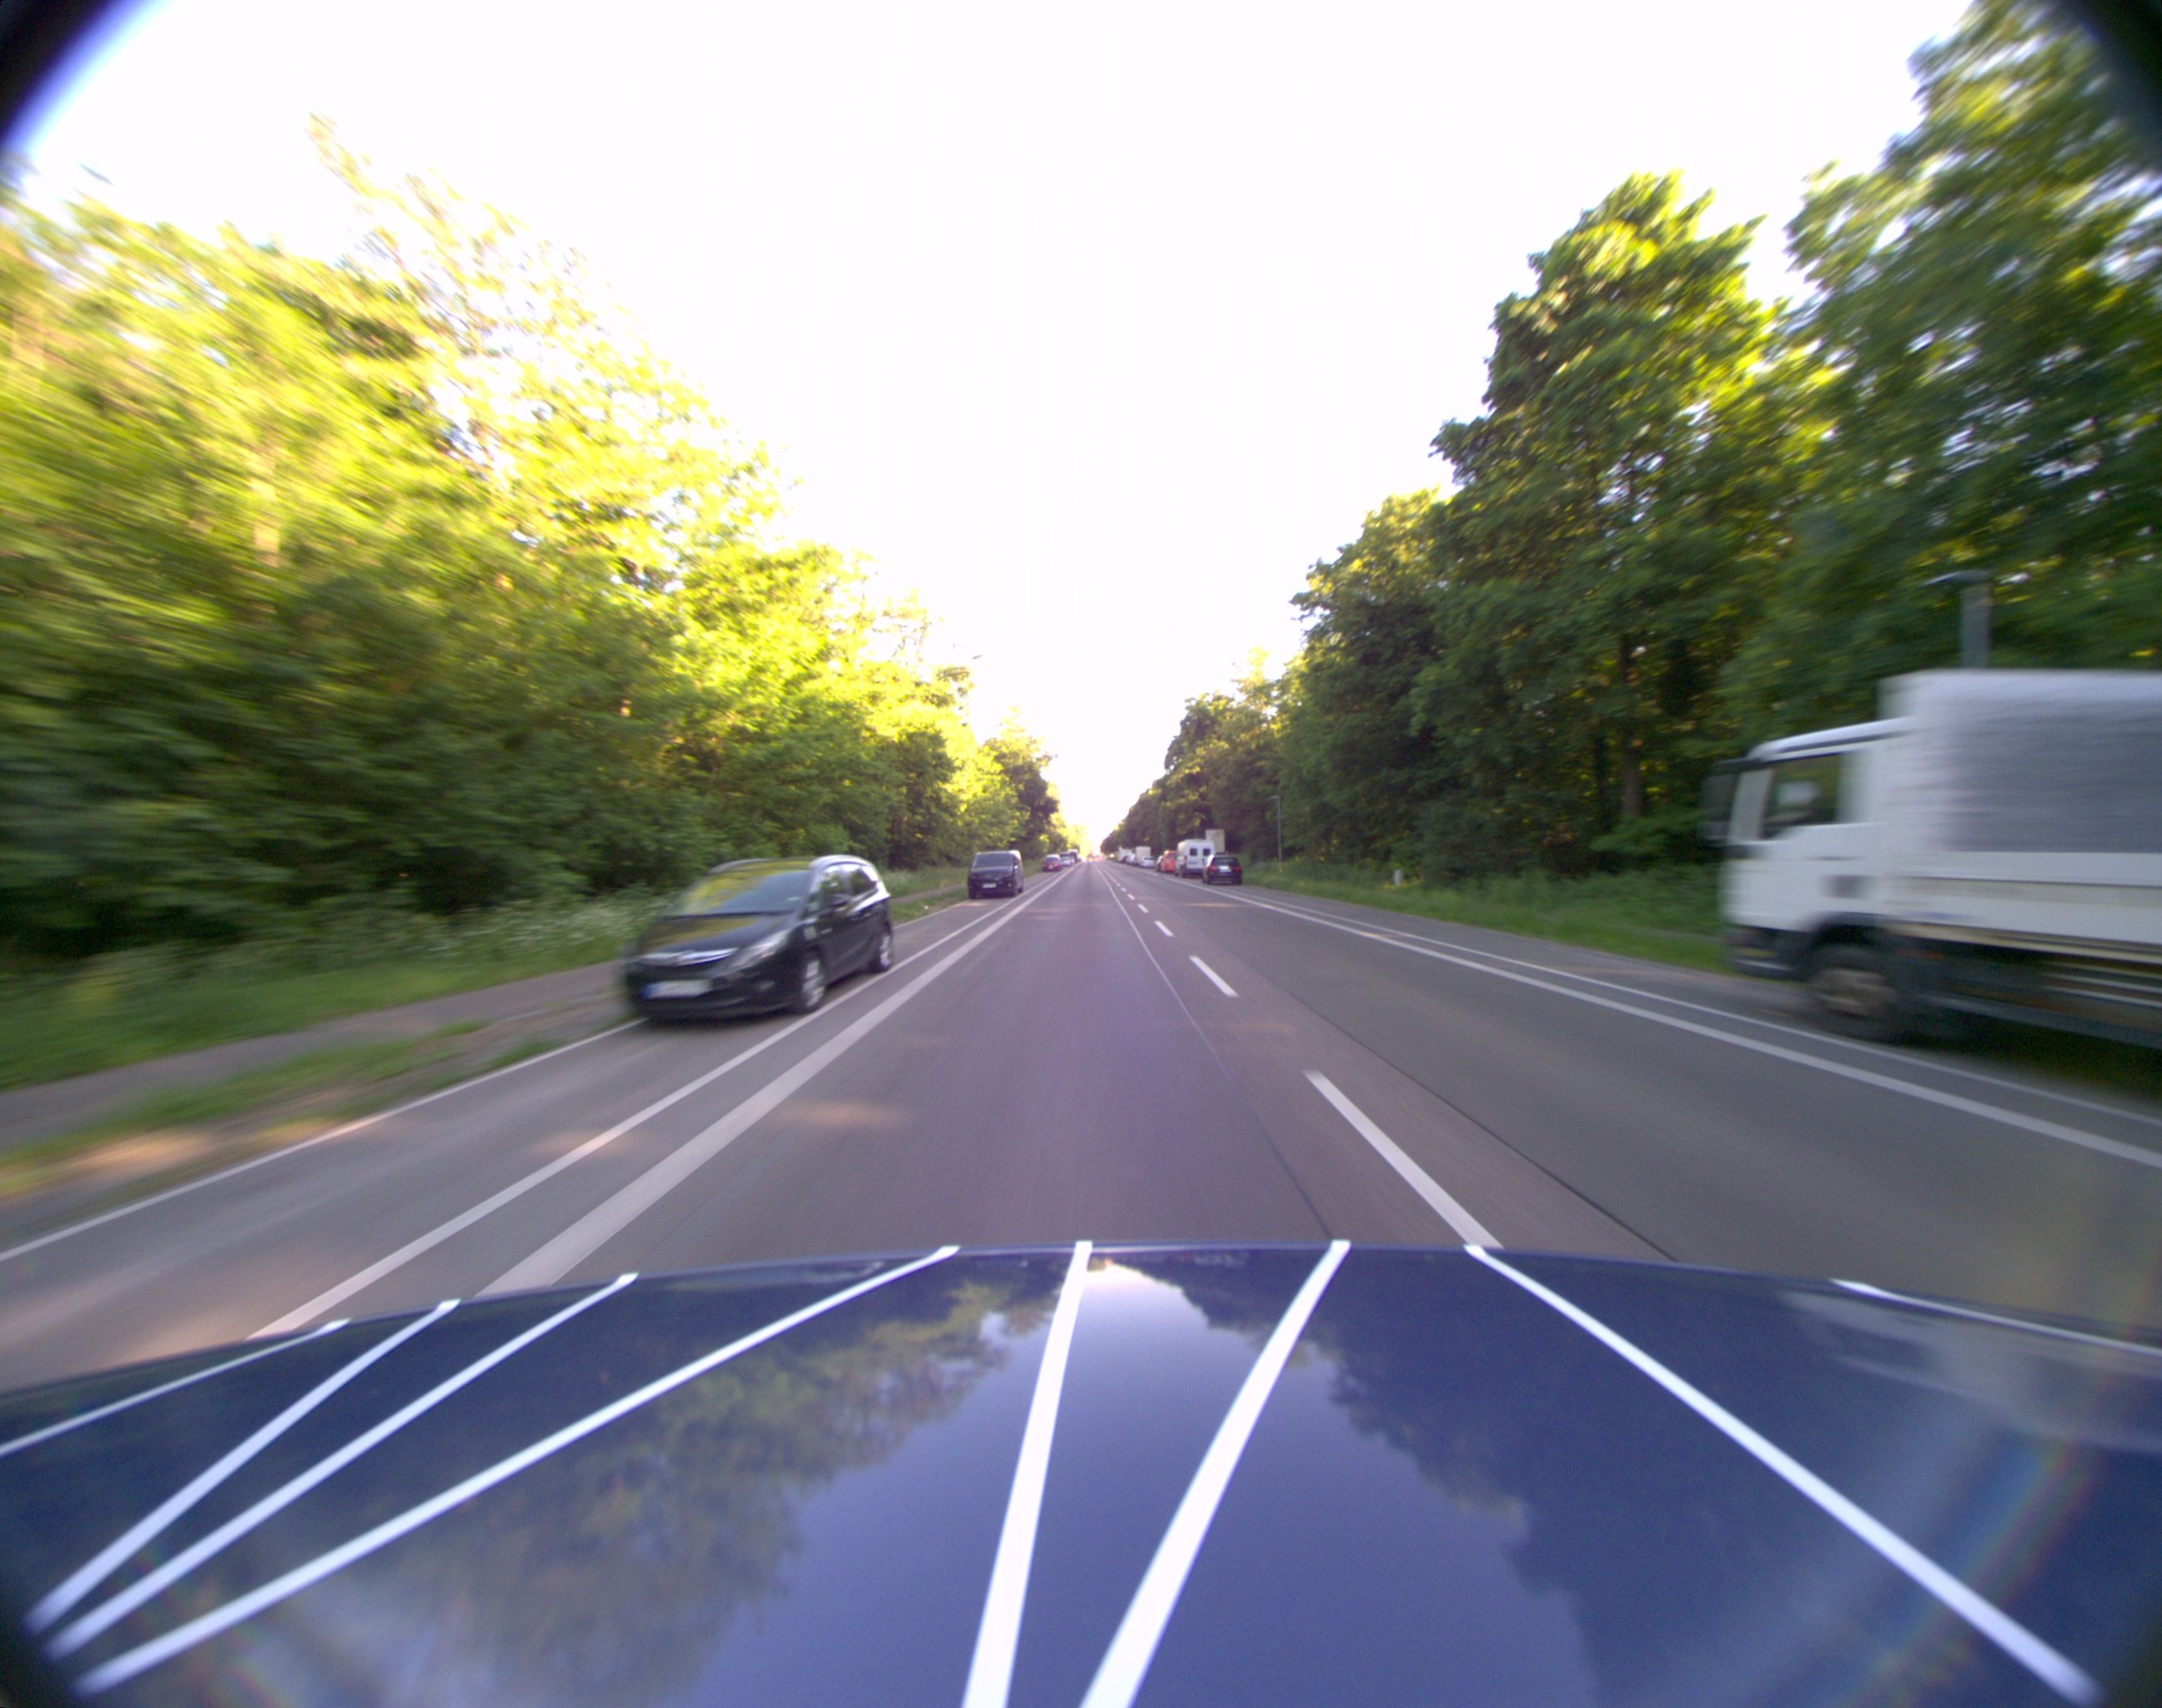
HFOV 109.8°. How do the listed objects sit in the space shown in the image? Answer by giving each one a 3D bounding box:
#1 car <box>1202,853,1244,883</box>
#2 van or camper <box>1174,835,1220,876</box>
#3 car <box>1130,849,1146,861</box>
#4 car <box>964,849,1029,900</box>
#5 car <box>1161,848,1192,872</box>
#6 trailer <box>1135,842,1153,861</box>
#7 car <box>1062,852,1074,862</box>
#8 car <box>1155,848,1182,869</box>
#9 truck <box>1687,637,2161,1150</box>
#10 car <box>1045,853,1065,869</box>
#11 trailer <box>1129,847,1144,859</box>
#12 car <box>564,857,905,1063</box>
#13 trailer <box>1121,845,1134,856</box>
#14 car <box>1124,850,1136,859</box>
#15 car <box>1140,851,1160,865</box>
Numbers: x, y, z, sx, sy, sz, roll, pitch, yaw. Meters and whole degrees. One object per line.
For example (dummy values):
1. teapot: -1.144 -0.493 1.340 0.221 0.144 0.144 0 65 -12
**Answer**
1. car: 7.322 0.694 39.494 1.787 1.485 4.001 -1 0 5
2. van or camper: 7.807 0.079 51.644 2.253 2.599 5.984 -1 0 1
3. car: 8.332 0.167 111.473 1.998 1.620 4.144 -2 0 1
4. car: -3.438 0.777 32.112 1.998 1.888 5.473 -2 0 1
5. car: 7.798 0.453 62.458 1.998 1.797 4.144 -2 0 1
6. trailer: 7.944 -0.362 96.201 1.998 2.227 3.999 -2 1 1
7. car: -2.078 0.501 125.645 1.837 1.608 4.000 -2 0 1
8. car: 7.869 0.371 68.723 1.998 1.797 4.144 -2 0 1
9. truck: 7.127 0.188 3.188 2.488 2.807 8.424 -2 0 1
10. car: -2.704 0.704 80.329 1.837 1.608 4.000 -2 0 1
11. trailer: 8.560 -0.139 118.268 1.998 1.776 3.999 -2 1 1
12. car: -3.596 0.946 9.018 1.804 1.681 4.601 -2 1 1
13. trailer: 9.302 -0.725 151.695 2.306 1.972 3.999 -2 1 1
14. car: 9.269 0.165 144.425 1.998 1.620 4.144 -2 0 1
15. car: 8.044 0.461 89.441 1.998 1.620 4.144 -2 0 1
